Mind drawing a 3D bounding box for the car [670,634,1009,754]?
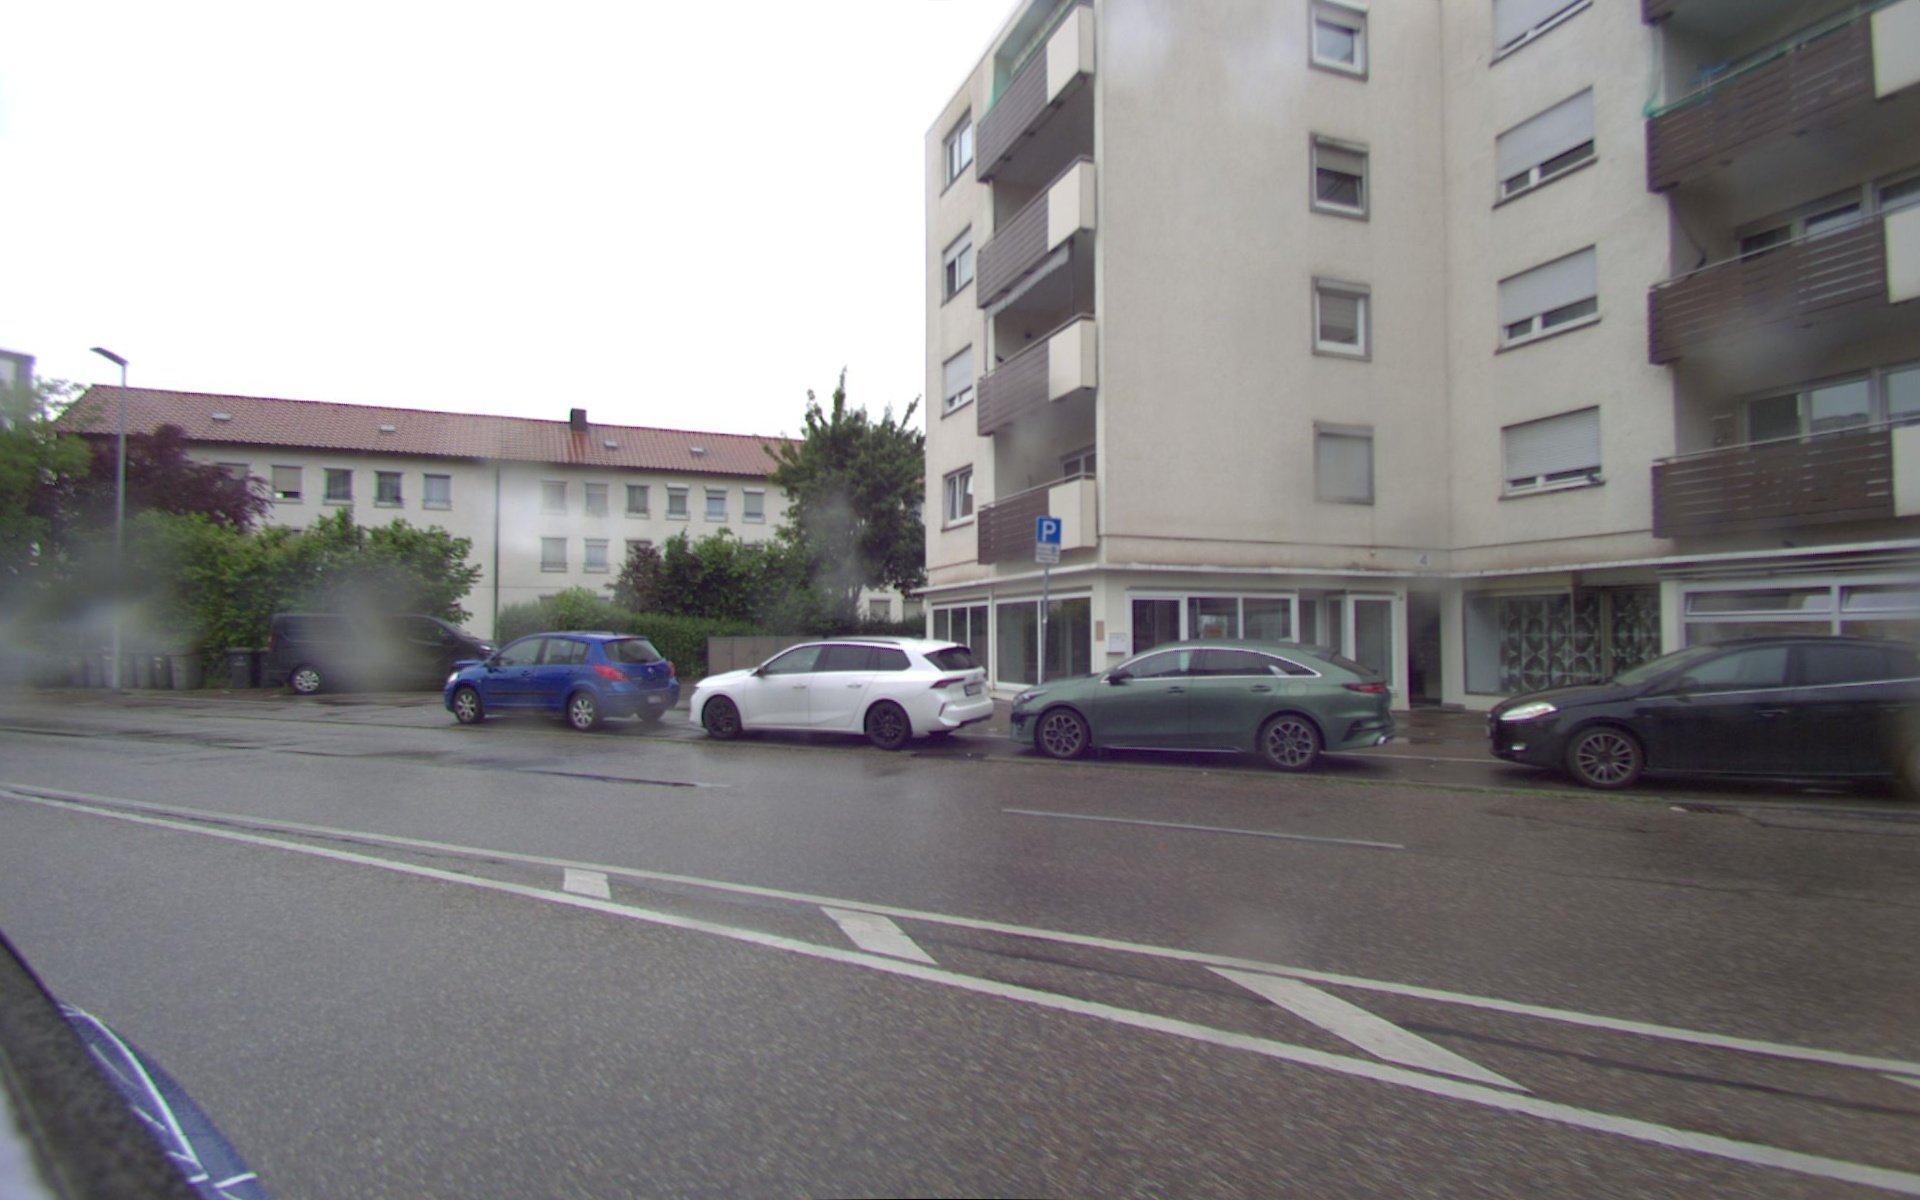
[{"bbox_3d":[-1.762,1.251,14.448,4.657,1.475,1.684,-1,-2,25],"label":"car"}]

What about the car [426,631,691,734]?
[{"bbox_3d":[-6.742,1.311,16.936,4.299,1.532,1.643,-1,-2,25],"label":"car"}]

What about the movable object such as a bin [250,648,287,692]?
[{"bbox_3d":[-17.913,1.807,26.238,0.591,1.127,0.602,0,-2,-12],"label":"movable object such as a bin"}]

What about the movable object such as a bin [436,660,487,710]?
[{"bbox_3d":[-10.009,1.692,20.326,0.678,0.973,0.644,-1,-3,25],"label":"movable object such as a bin"}]

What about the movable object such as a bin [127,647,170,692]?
[{"bbox_3d":[-21.001,1.787,26.203,0.595,1.127,0.599,-1,-2,12],"label":"movable object such as a bin"}]

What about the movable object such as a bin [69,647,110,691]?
[{"bbox_3d":[-22.846,1.813,26.566,0.597,1.127,0.597,-1,-2,22],"label":"movable object such as a bin"}]

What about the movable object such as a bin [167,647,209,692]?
[{"bbox_3d":[-19.784,1.775,25.933,0.595,1.127,0.599,-1,-2,12],"label":"movable object such as a bin"}]

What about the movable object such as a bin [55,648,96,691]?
[{"bbox_3d":[-23.416,1.830,26.806,0.597,1.127,0.597,-1,-2,22],"label":"movable object such as a bin"}]

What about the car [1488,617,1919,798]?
[{"bbox_3d":[7.676,0.960,9.980,4.248,1.553,1.924,-1,-2,25],"label":"car"}]

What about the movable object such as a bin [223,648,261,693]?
[{"bbox_3d":[-18.499,1.815,26.077,0.591,1.127,0.602,0,-2,-12],"label":"movable object such as a bin"}]

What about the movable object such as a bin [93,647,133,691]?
[{"bbox_3d":[-22.194,1.808,26.517,0.597,1.127,0.597,-1,-2,22],"label":"movable object such as a bin"}]

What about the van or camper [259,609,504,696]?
[{"bbox_3d":[-14.469,1.296,25.680,5.128,1.939,2.006,-1,-3,-20],"label":"van or camper"}]

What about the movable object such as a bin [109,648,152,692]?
[{"bbox_3d":[-21.593,1.806,26.344,0.595,1.127,0.599,-1,-2,12],"label":"movable object such as a bin"}]

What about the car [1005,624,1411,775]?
[{"bbox_3d":[2.987,1.086,12.268,4.495,1.553,1.924,-1,-2,25],"label":"car"}]

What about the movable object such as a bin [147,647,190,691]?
[{"bbox_3d":[-20.396,1.775,26.083,0.595,1.127,0.599,-1,-2,12],"label":"movable object such as a bin"}]
